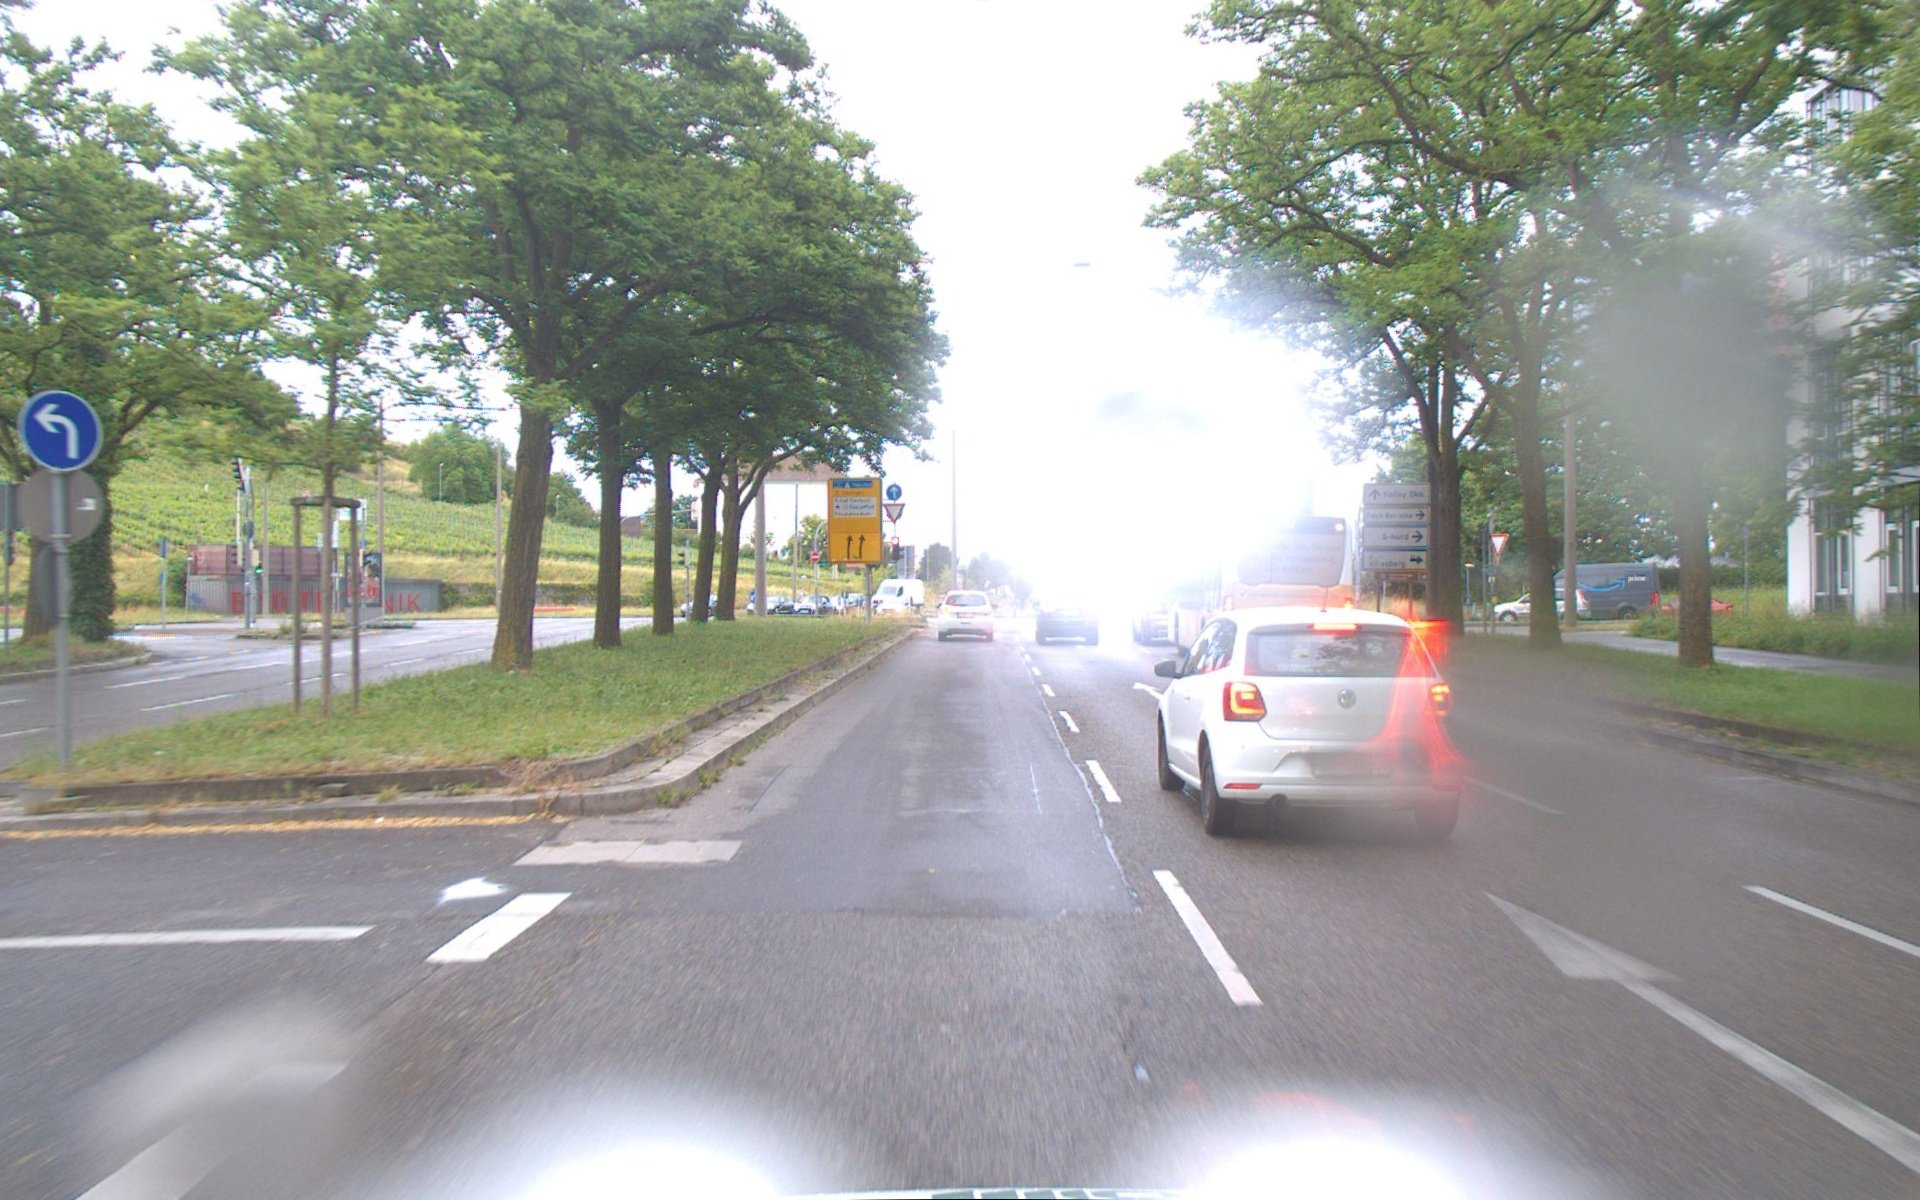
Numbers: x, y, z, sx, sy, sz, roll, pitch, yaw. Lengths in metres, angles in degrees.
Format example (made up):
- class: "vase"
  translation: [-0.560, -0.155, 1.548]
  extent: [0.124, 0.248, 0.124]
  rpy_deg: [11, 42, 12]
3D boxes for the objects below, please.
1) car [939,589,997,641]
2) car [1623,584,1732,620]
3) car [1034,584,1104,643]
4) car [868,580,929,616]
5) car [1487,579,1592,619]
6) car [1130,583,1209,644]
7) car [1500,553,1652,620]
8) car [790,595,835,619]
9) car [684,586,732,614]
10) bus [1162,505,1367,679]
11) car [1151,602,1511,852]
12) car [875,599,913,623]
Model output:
- class: "car"
  translation: [0.276, 0.452, 50.576]
  extent: [1.682, 1.515, 4.000]
  rpy_deg: [1, 0, 1]
- class: "car"
  translation: [32.735, 0.095, 75.471]
  extent: [4.435, 1.495, 2.160]
  rpy_deg: [2, 0, 27]
- class: "car"
  translation: [3.161, 0.389, 48.781]
  extent: [1.845, 1.623, 4.114]
  rpy_deg: [2, 0, 1]
- class: "car"
  translation: [-4.701, -0.134, 128.398]
  extent: [1.955, 2.604, 6.163]
  rpy_deg: [1, 0, 27]
- class: "car"
  translation: [24.242, -0.049, 69.199]
  extent: [3.968, 1.596, 1.869]
  rpy_deg: [1, -2, 25]
- class: "car"
  translation: [6.230, 0.364, 49.712]
  extent: [1.827, 1.703, 4.566]
  rpy_deg: [1, 1, 0]
- class: "car"
  translation: [26.526, -0.569, 71.254]
  extent: [5.895, 2.789, 2.078]
  rpy_deg: [0, -1, 28]
- class: "car"
  translation: [-9.317, 0.443, 104.952]
  extent: [1.748, 1.420, 3.885]
  rpy_deg: [1, -1, 12]
- class: "car"
  translation: [-16.090, 0.013, 105.981]
  extent: [1.790, 1.652, 4.570]
  rpy_deg: [2, 0, 7]
- class: "bus"
  translation: [6.482, -0.233, 37.300]
  extent: [2.670, 3.207, 12.149]
  rpy_deg: [2, 1, 2]
- class: "car"
  translation: [2.463, 0.773, 11.902]
  extent: [1.705, 1.457, 3.811]
  rpy_deg: [2, 0, 0]
- class: "car"
  translation: [-4.163, 0.694, 105.571]
  extent: [1.738, 1.450, 4.377]
  rpy_deg: [-1, 0, 7]
